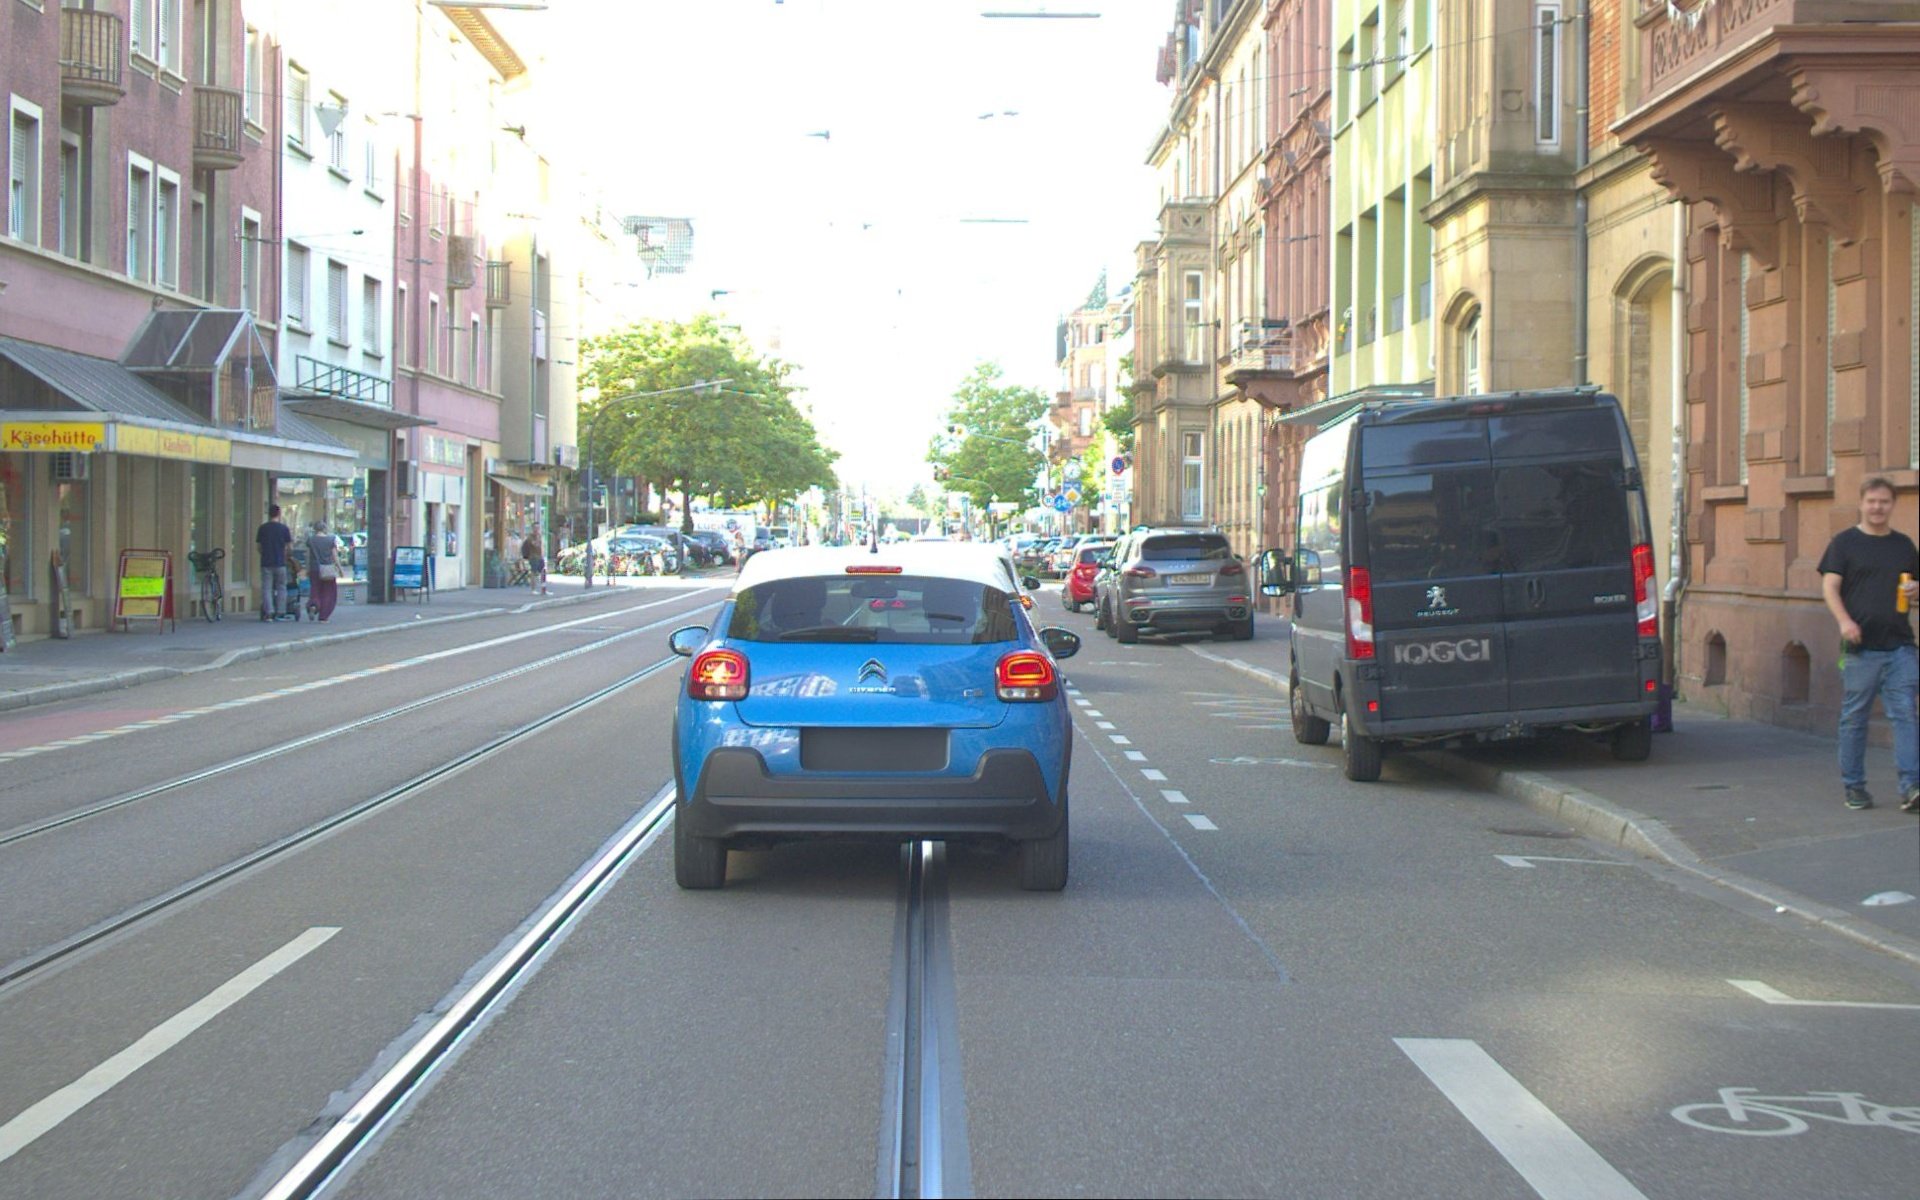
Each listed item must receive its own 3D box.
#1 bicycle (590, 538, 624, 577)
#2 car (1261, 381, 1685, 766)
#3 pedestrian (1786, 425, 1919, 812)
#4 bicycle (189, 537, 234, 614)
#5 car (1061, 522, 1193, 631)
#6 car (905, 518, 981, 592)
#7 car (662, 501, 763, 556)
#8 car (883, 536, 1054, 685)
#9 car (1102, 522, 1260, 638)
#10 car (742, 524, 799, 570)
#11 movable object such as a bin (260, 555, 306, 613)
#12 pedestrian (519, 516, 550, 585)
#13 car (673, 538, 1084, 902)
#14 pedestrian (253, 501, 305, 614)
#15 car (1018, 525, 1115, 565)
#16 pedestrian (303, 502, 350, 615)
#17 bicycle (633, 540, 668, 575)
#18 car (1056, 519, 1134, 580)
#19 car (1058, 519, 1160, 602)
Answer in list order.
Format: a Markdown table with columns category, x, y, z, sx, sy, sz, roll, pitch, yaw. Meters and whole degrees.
| category | x | y | z | sx | sy | sz | roll | pitch | yaw |
| --- | --- | --- | --- | --- | --- | --- | --- | --- | --- |
| bicycle | -11.961 | -1.447 | 116.296 | 1.120 | 1.315 | 3.645 | 0 | 1 | -6 |
| car | 3.525 | -0.225 | 24.801 | 2.271 | 2.428 | 5.720 | 1 | 1 | 1 |
| pedestrian | 4.861 | 0.087 | 18.419 | 0.585 | 2.007 | 0.823 | -2 | 1 | -2 |
| bicycle | -11.487 | -0.388 | 52.702 | 0.621 | 1.155 | 2.066 | 0 | 1 | -14 |
| car | 2.772 | -0.422 | 57.821 | 1.905 | 1.751 | 4.000 | 0 | 1 | -2 |
| car | -0.496 | -1.253 | 94.504 | 1.993 | 2.007 | 4.001 | 0 | 1 | -2 |
| car | -11.898 | -3.439 | 165.227 | 4.307 | 2.572 | 2.210 | 0 | 1 | -26 |
| car | 0.039 | 0.068 | 36.147 | 1.667 | 1.473 | 4.001 | 0 | 1 | -2 |
| car | 3.285 | -0.340 | 52.017 | 2.005 | 1.667 | 4.806 | 0 | 1 | -1 |
| car | -6.987 | -1.973 | 126.984 | 1.993 | 1.645 | 4.000 | 0 | 1 | -2 |
| movable object such as a bin | -10.768 | -0.263 | 54.712 | 0.610 | 0.911 | 0.695 | 0 | 1 | -1 |
| pedestrian | -10.129 | -1.187 | 81.846 | 0.685 | 1.633 | 0.675 | 0 | 1 | -2 |
| car | -0.454 | 0.456 | 16.067 | 1.673 | 1.472 | 4.001 | 0 | 1 | -4 |
| pedestrian | -10.700 | -0.669 | 54.014 | 0.710 | 1.758 | 0.570 | 0 | 1 | -2 |
| car | 4.370 | -2.259 | 141.621 | 3.835 | 1.612 | 1.792 | 0 | 1 | -3 |
| pedestrian | -9.996 | -0.656 | 54.235 | 0.710 | 1.758 | 0.655 | 0 | 1 | -9 |
| bicycle | -10.483 | -1.432 | 116.239 | 1.120 | 1.142 | 3.645 | 0 | 1 | -6 |
| car | 3.932 | -1.499 | 100.616 | 2.005 | 1.666 | 4.391 | -2 | 1 | -1 |
| car | 3.270 | -0.902 | 76.246 | 2.005 | 1.666 | 4.391 | -1 | 2 | -1 |
